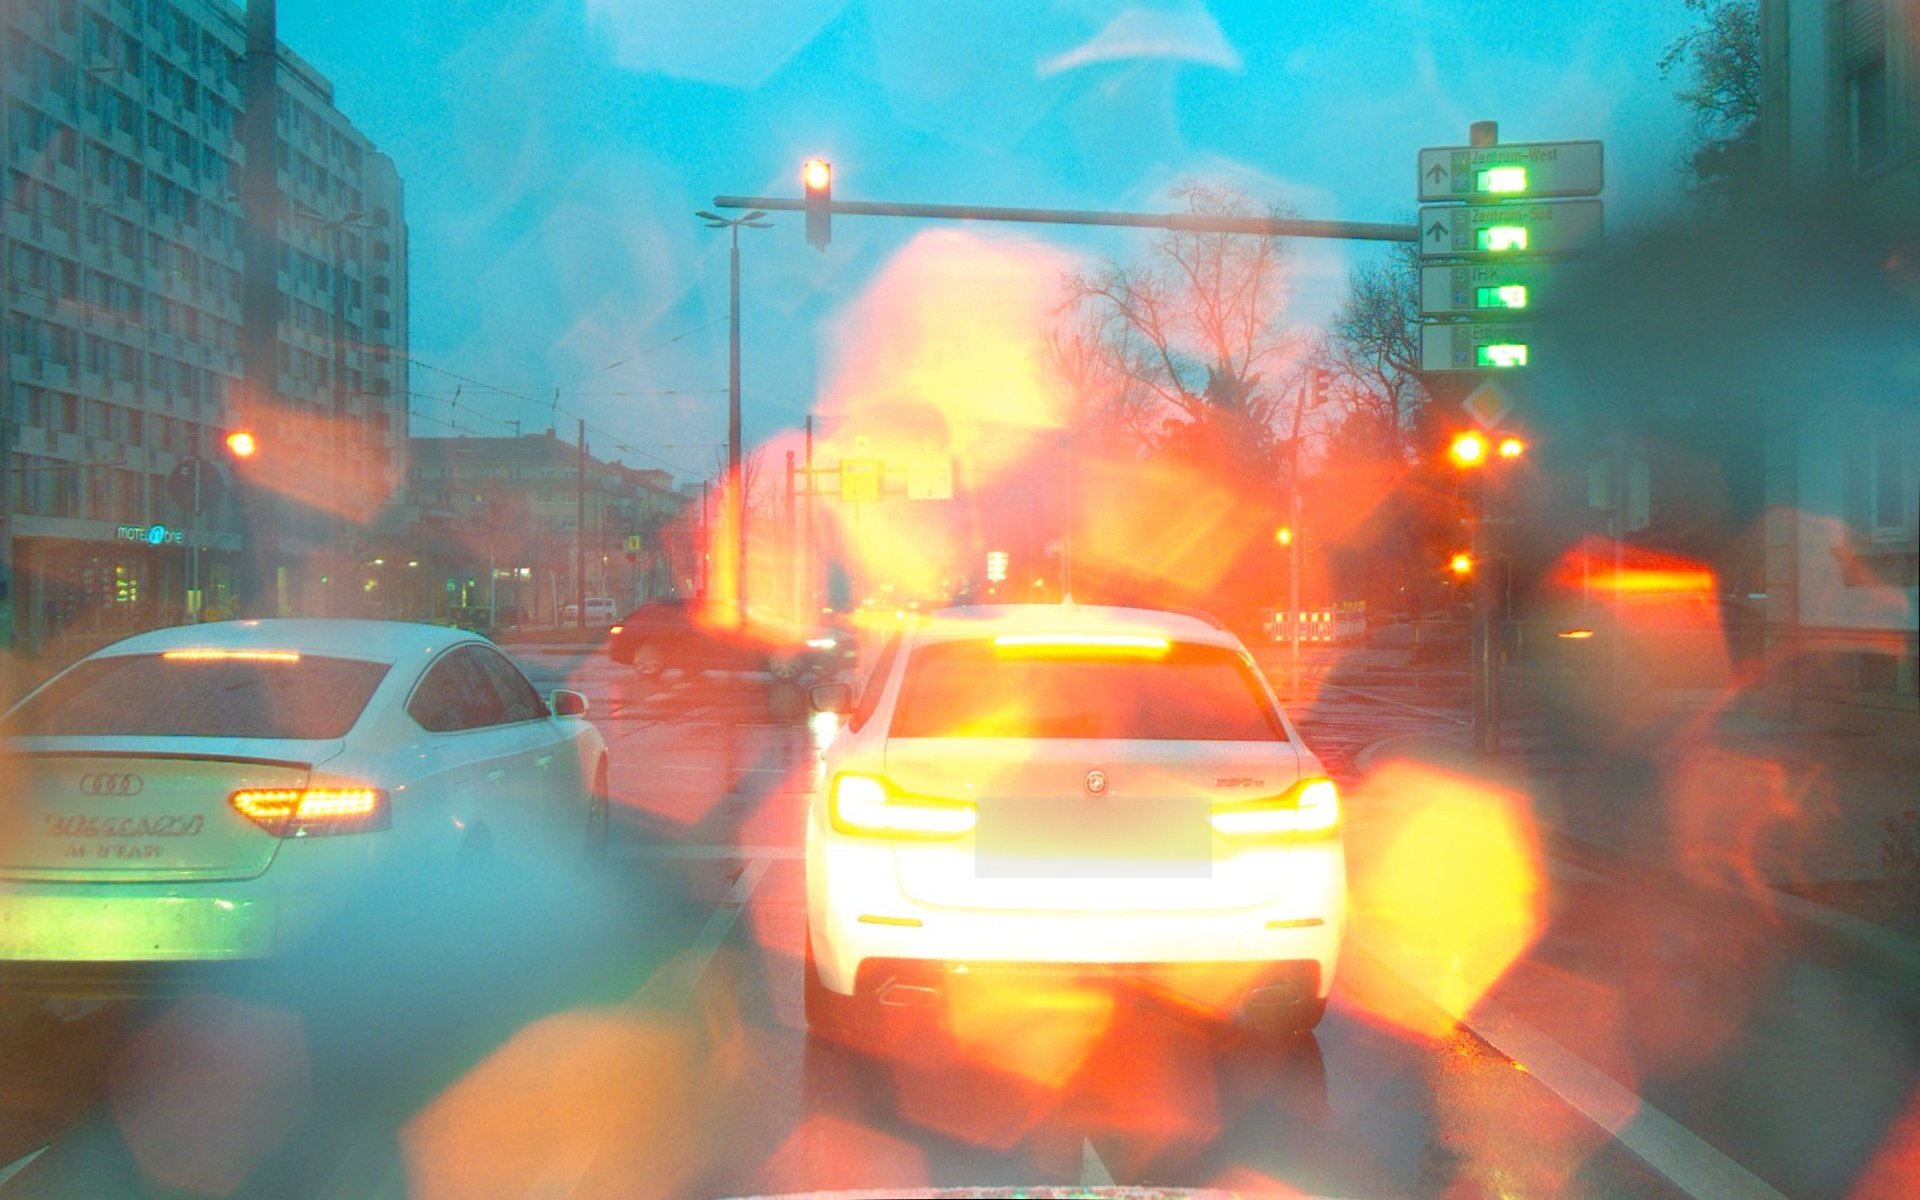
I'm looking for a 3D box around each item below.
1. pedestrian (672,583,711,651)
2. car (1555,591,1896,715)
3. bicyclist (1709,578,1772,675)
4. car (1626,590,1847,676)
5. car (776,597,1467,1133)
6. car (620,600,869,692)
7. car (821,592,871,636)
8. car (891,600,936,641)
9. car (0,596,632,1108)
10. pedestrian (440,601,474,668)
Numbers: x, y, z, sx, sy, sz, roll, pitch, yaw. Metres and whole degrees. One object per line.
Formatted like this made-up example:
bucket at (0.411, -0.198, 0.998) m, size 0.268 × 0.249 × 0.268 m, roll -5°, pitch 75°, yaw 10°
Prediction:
pedestrian at (-7.549, 0.481, 46.472) m, size 0.889 × 1.888 × 0.807 m, roll 2°, pitch -1°, yaw -20°
car at (11.630, 0.779, 25.501) m, size 4.598 × 1.751 × 1.902 m, roll 0°, pitch -1°, yaw 20°
bicyclist at (14.769, 0.503, 31.315) m, size 0.952 × 1.789 × 0.813 m, roll 1°, pitch -1°, yaw 18°
car at (15.531, 0.652, 33.285) m, size 3.873 × 1.581 × 1.749 m, roll 1°, pitch -1°, yaw 21°
car at (0.367, 0.741, 6.845) m, size 1.954 × 1.481 × 4.366 m, roll 0°, pitch 0°, yaw -3°
car at (-4.004, 0.840, 30.920) m, size 4.221 × 1.557 × 1.764 m, roll 1°, pitch -1°, yaw 15°
car at (-4.558, 0.574, 65.665) m, size 1.807 × 1.637 × 3.940 m, roll 1°, pitch -1°, yaw -6°
car at (-1.954, 0.865, 70.357) m, size 1.805 × 1.637 × 3.944 m, roll 1°, pitch -1°, yaw -1°
car at (-2.715, 0.733, 7.016) m, size 1.954 × 1.481 × 4.366 m, roll 0°, pitch 0°, yaw -3°
pedestrian at (-13.428, 0.913, 44.163) m, size 0.777 × 1.741 × 0.809 m, roll 2°, pitch -1°, yaw -16°
